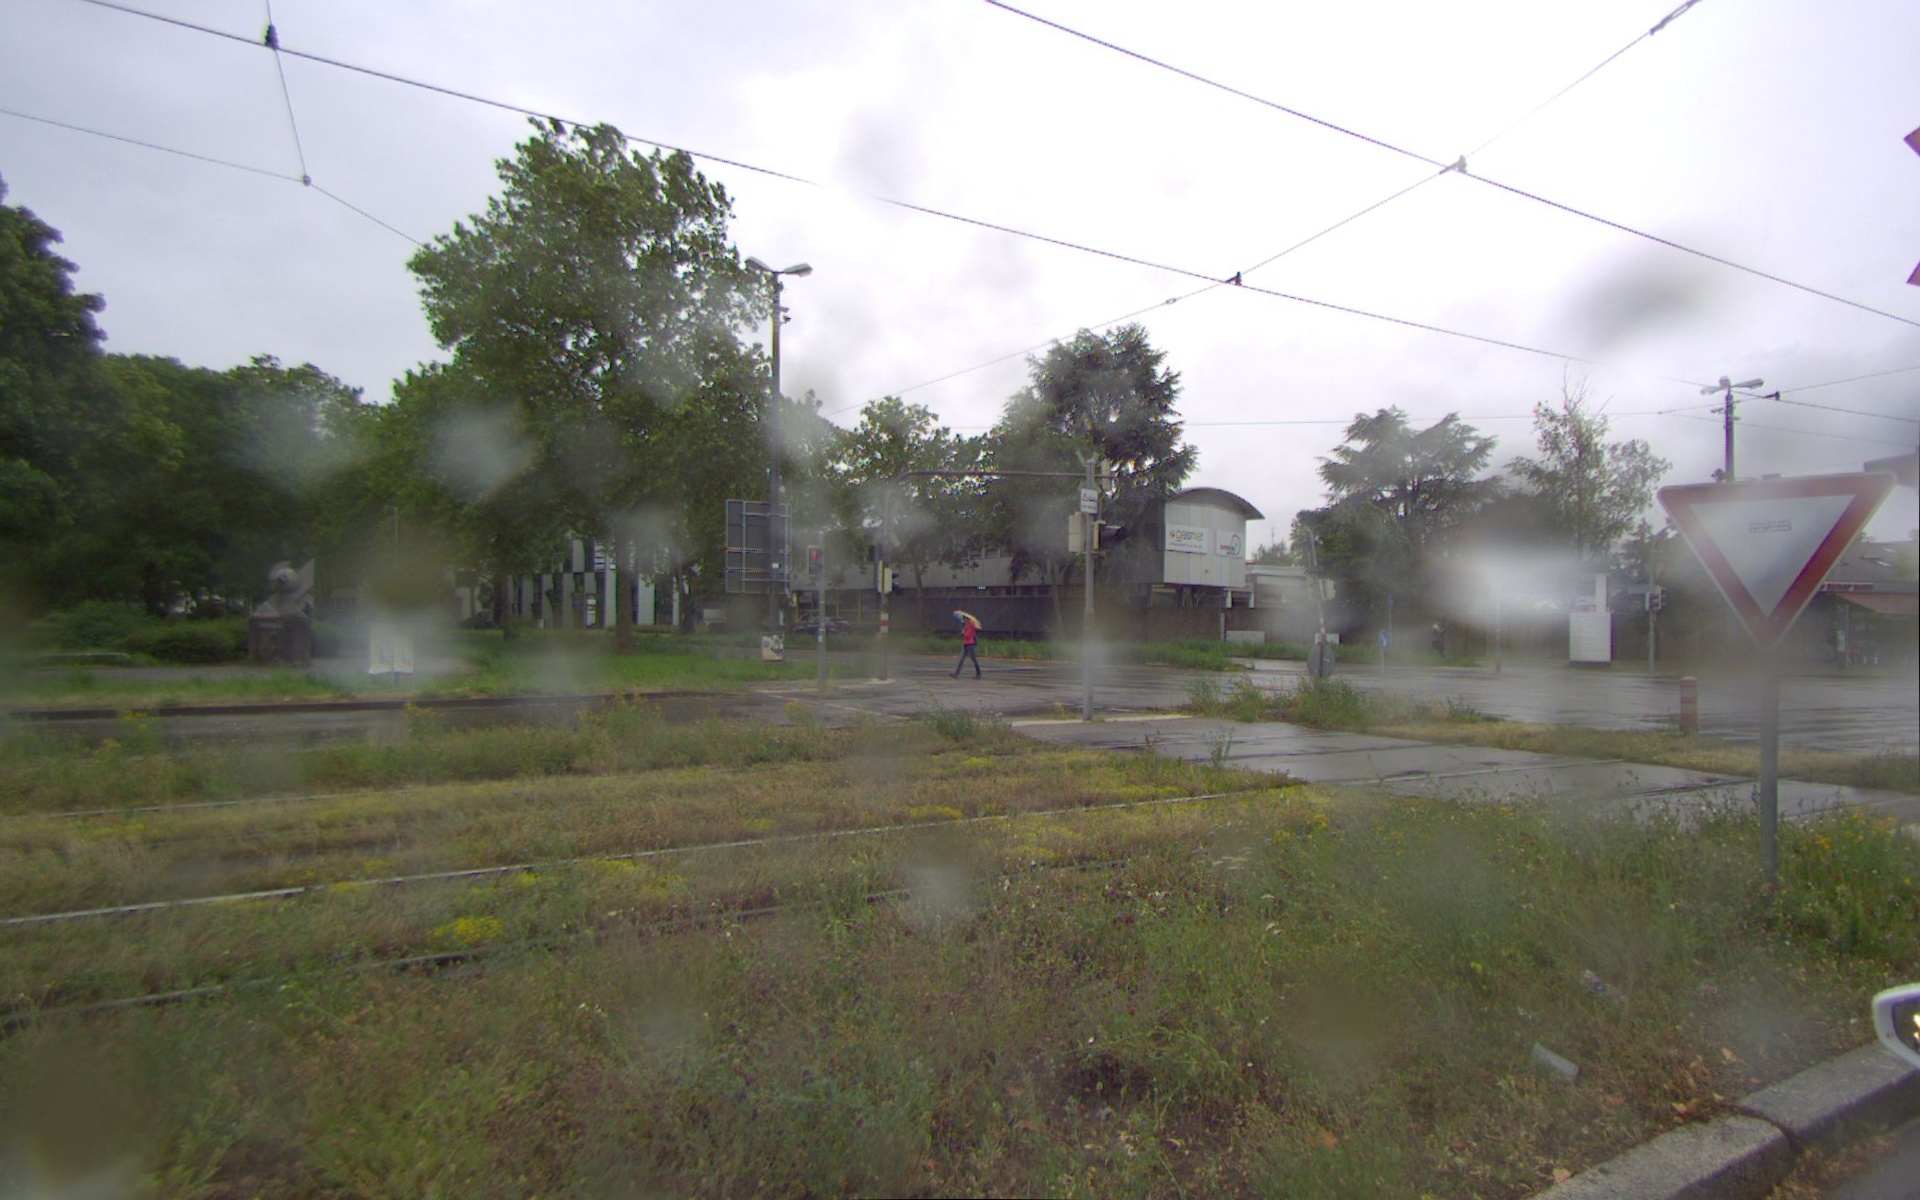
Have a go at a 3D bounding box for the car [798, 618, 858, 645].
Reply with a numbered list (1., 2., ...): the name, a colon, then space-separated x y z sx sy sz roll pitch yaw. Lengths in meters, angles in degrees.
1. car: -7.958 1.874 60.266 1.679 1.417 4.087 2 0 -39

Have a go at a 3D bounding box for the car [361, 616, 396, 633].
1. car: -65.893 2.769 113.860 3.934 1.806 1.993 2 0 36

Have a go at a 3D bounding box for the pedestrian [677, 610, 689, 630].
1. pedestrian: -24.150 1.713 87.578 0.813 1.690 0.669 2 0 43

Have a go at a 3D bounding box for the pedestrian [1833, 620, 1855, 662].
1. pedestrian: 43.008 1.984 48.881 0.714 2.040 0.791 2 0 38

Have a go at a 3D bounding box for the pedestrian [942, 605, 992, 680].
1. pedestrian: 0.191 1.161 27.825 0.998 2.017 0.945 2 0 -34

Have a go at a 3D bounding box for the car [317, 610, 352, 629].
1. car: -75.284 2.374 120.861 3.932 2.116 2.123 2 0 33

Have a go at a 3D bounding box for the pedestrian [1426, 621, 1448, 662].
1. pedestrian: 21.917 1.893 46.172 0.870 1.821 0.726 2 1 26

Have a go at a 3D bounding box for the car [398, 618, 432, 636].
1. car: -59.773 2.996 110.238 3.940 1.806 1.990 2 0 41
